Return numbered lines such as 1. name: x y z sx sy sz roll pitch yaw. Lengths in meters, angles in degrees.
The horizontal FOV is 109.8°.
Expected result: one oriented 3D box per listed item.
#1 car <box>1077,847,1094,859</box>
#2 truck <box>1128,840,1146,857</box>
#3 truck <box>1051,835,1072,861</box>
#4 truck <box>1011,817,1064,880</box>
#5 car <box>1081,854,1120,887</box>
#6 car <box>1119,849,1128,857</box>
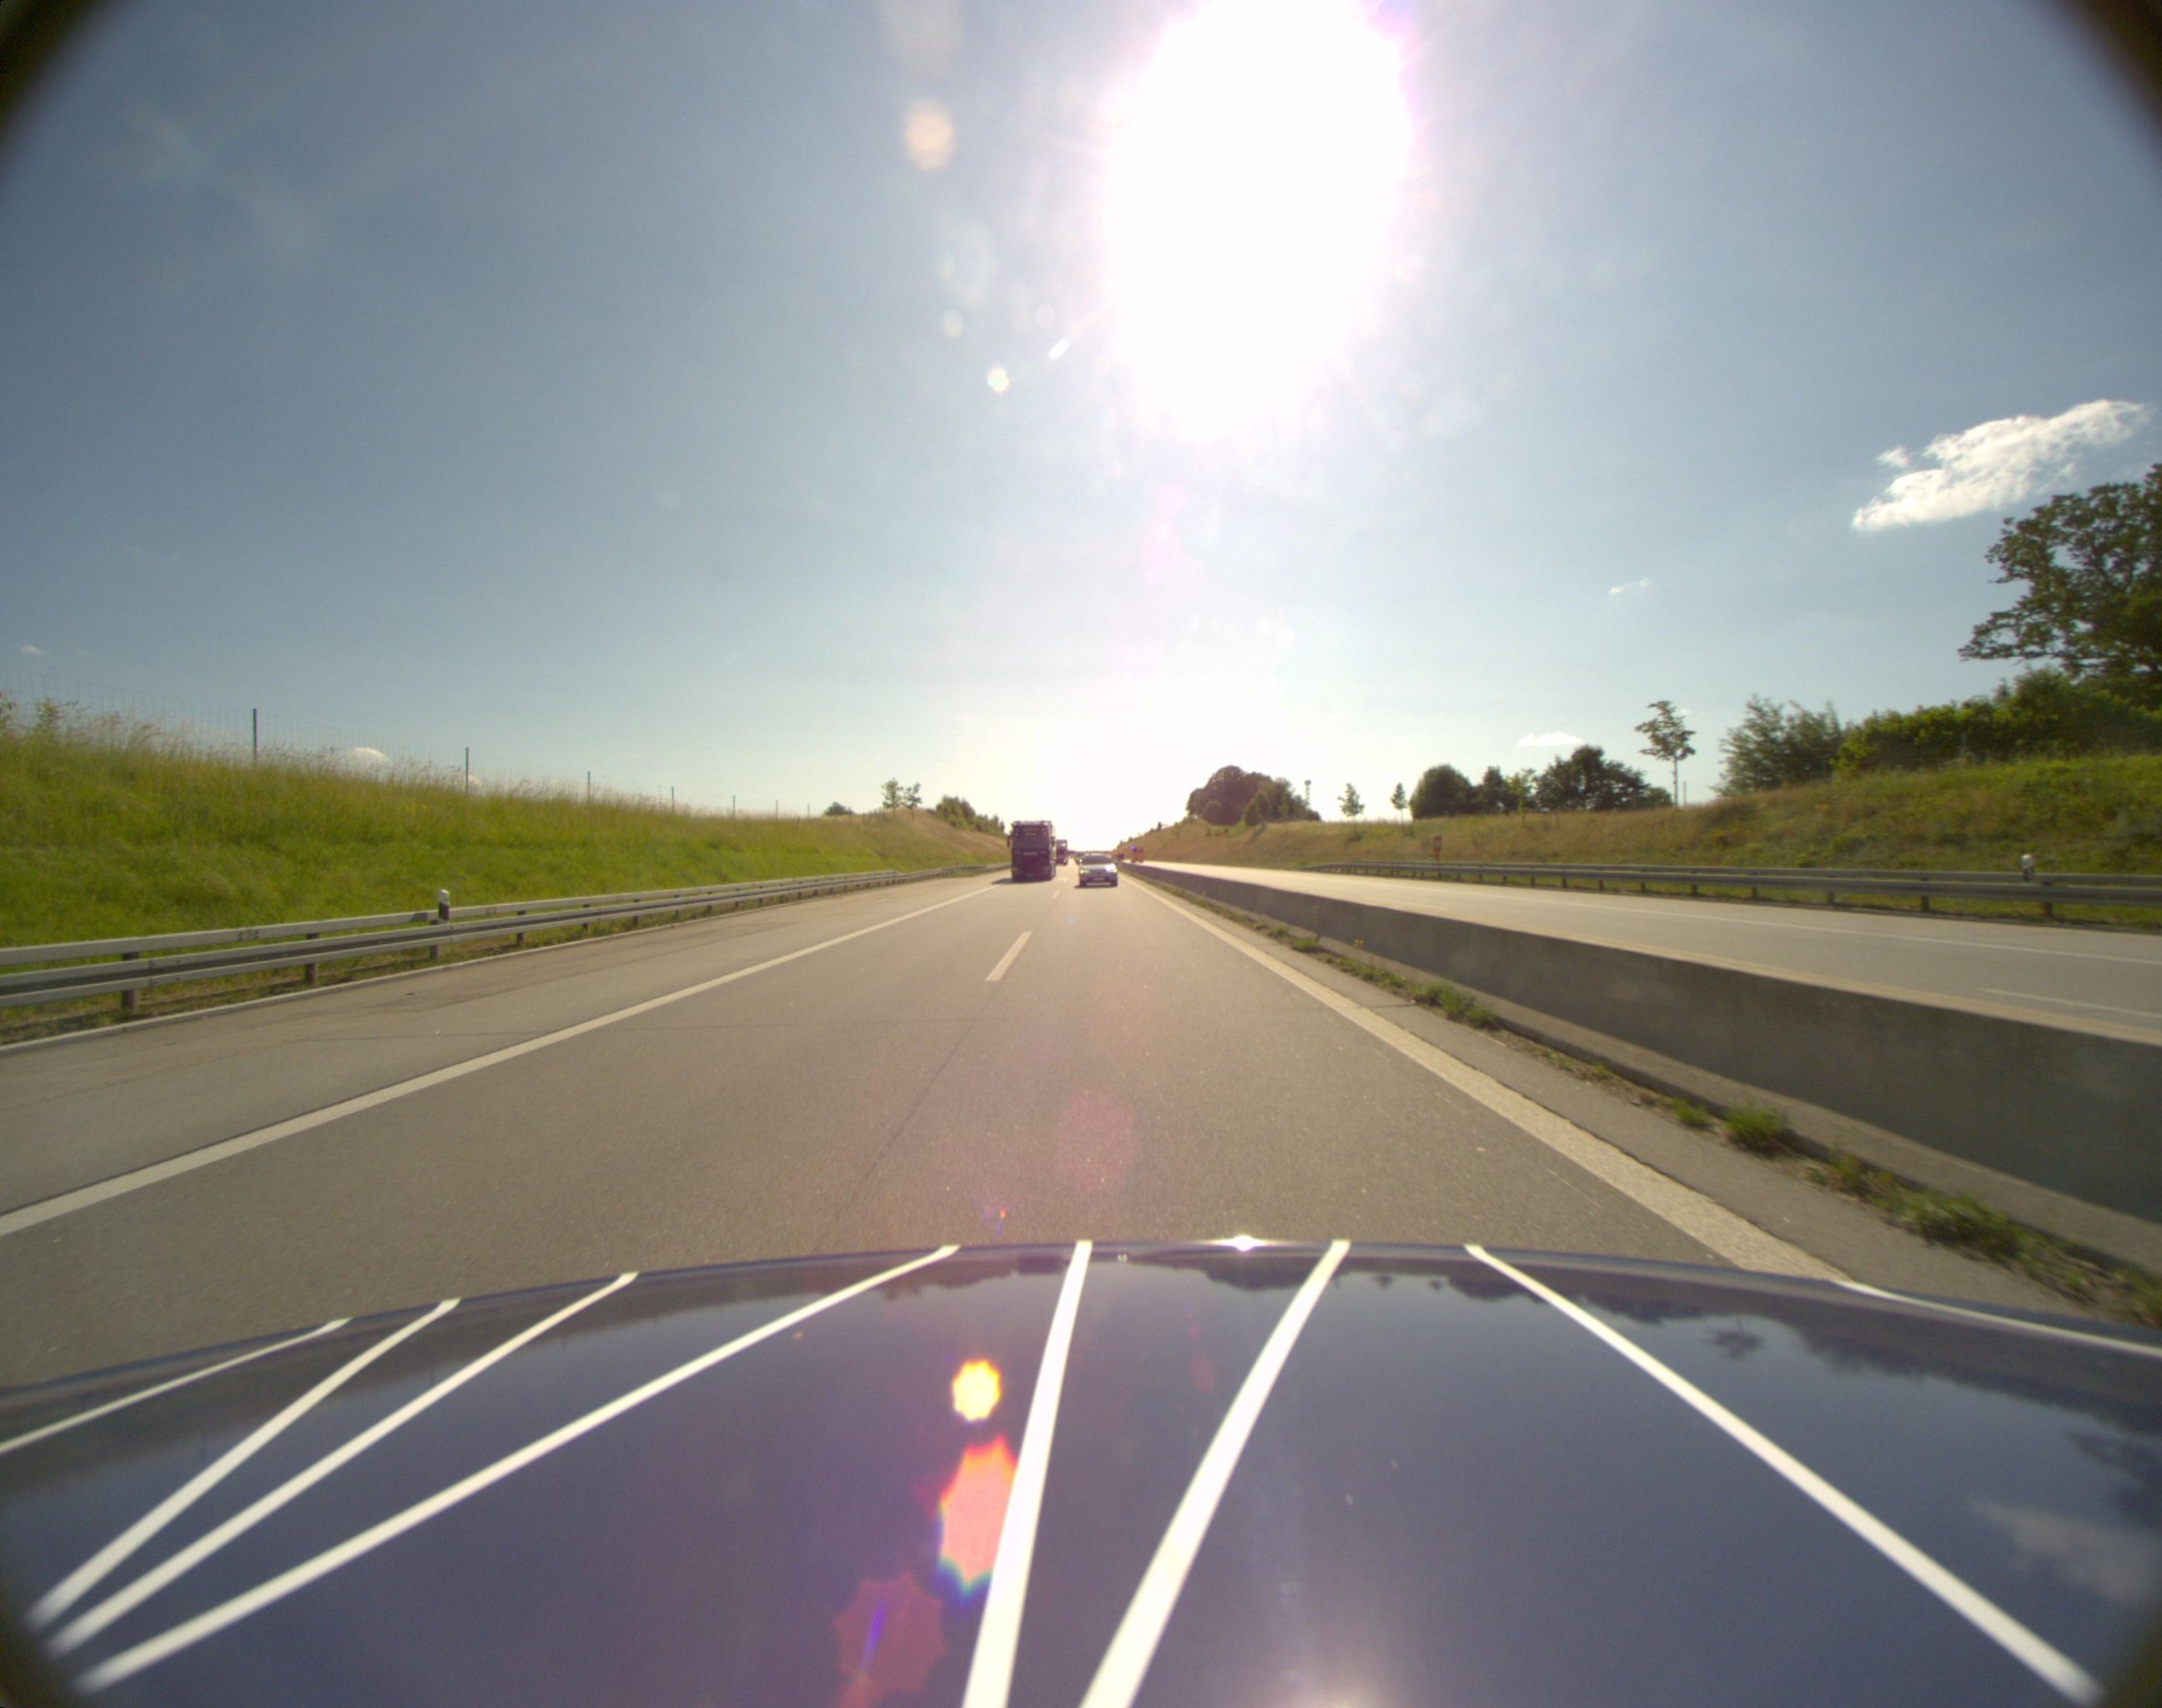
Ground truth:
1. car: 0.696 -0.178 131.374 2.816 2.143 5.946 1 0 -1
2. truck: 10.358 -1.011 141.514 2.781 3.004 6.791 -1 0 0
3. truck: -3.000 -0.949 120.136 3.025 3.795 13.401 1 0 -1
4. truck: -2.803 -0.370 52.978 2.623 3.795 13.403 -1 0 1
5. car: 0.949 0.773 37.133 1.795 1.501 3.635 -1 0 2
6. car: 11.183 -0.346 201.793 1.999 2.002 4.969 -2 0 0
